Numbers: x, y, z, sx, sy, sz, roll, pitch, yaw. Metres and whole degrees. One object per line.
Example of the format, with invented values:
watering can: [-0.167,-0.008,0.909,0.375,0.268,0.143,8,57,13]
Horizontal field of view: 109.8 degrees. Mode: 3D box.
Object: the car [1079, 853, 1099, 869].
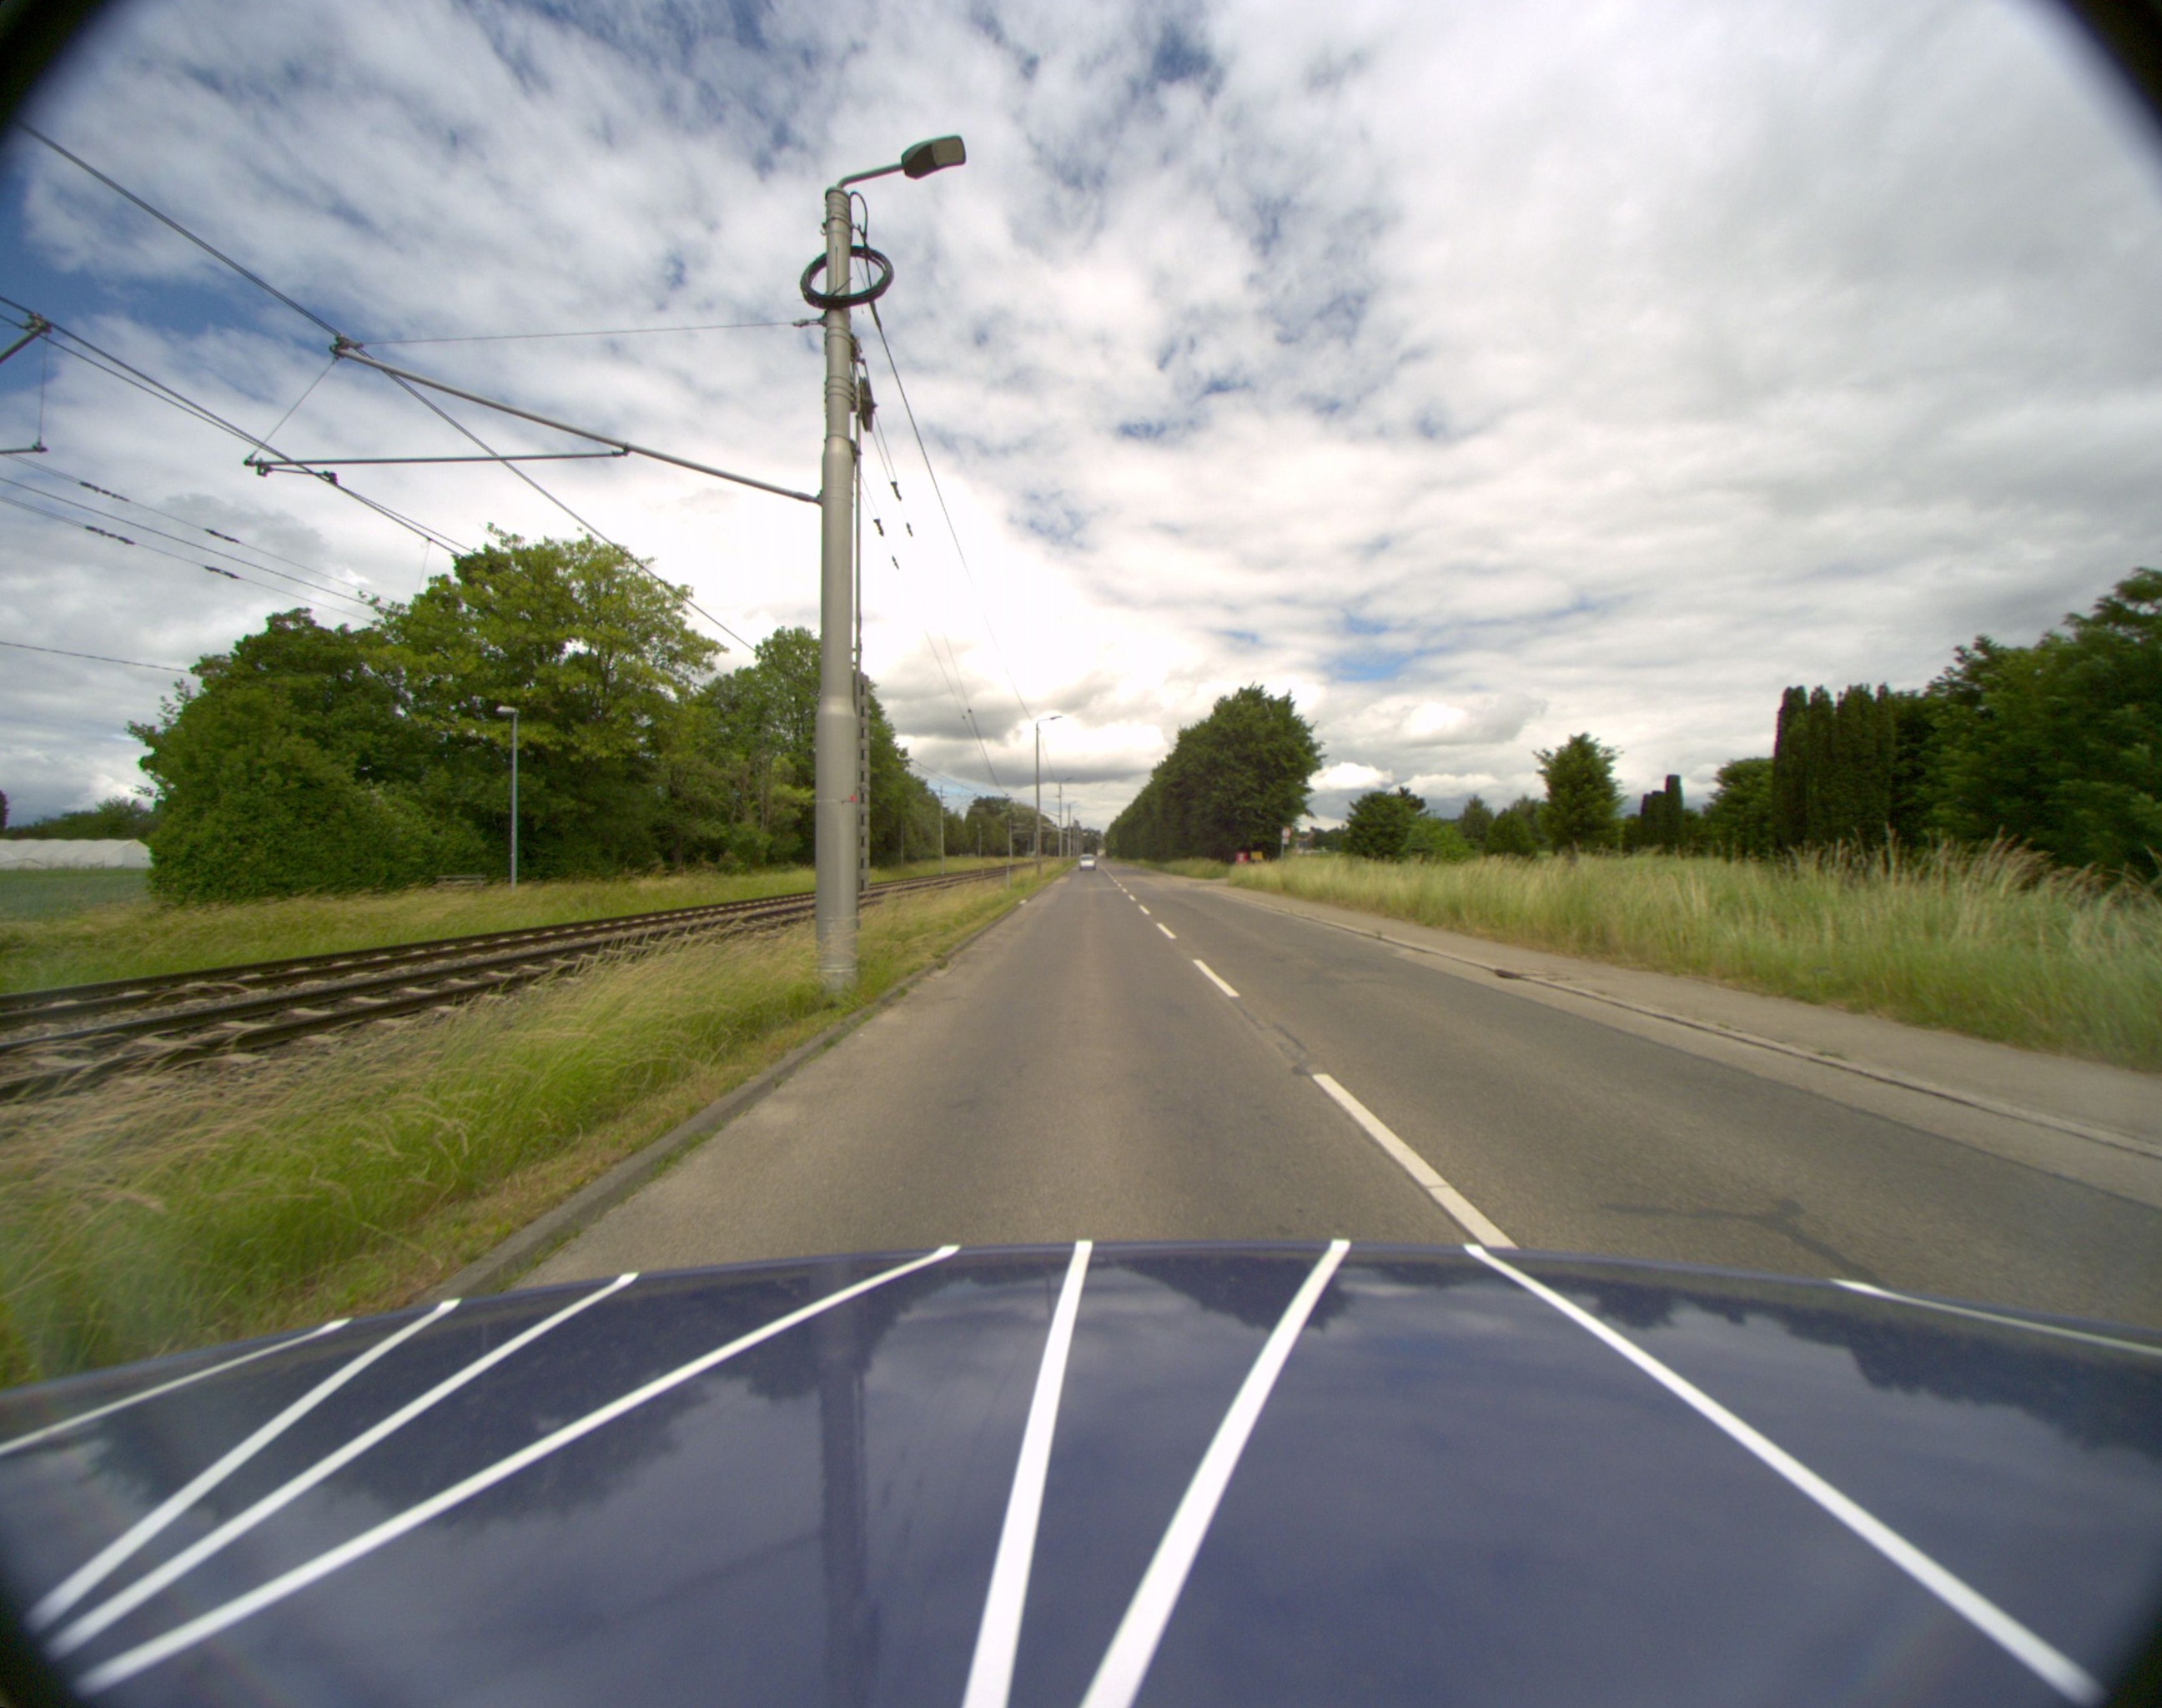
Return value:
car: [0.794,0.694,79.375,1.999,1.679,3.999,0,0,0]
